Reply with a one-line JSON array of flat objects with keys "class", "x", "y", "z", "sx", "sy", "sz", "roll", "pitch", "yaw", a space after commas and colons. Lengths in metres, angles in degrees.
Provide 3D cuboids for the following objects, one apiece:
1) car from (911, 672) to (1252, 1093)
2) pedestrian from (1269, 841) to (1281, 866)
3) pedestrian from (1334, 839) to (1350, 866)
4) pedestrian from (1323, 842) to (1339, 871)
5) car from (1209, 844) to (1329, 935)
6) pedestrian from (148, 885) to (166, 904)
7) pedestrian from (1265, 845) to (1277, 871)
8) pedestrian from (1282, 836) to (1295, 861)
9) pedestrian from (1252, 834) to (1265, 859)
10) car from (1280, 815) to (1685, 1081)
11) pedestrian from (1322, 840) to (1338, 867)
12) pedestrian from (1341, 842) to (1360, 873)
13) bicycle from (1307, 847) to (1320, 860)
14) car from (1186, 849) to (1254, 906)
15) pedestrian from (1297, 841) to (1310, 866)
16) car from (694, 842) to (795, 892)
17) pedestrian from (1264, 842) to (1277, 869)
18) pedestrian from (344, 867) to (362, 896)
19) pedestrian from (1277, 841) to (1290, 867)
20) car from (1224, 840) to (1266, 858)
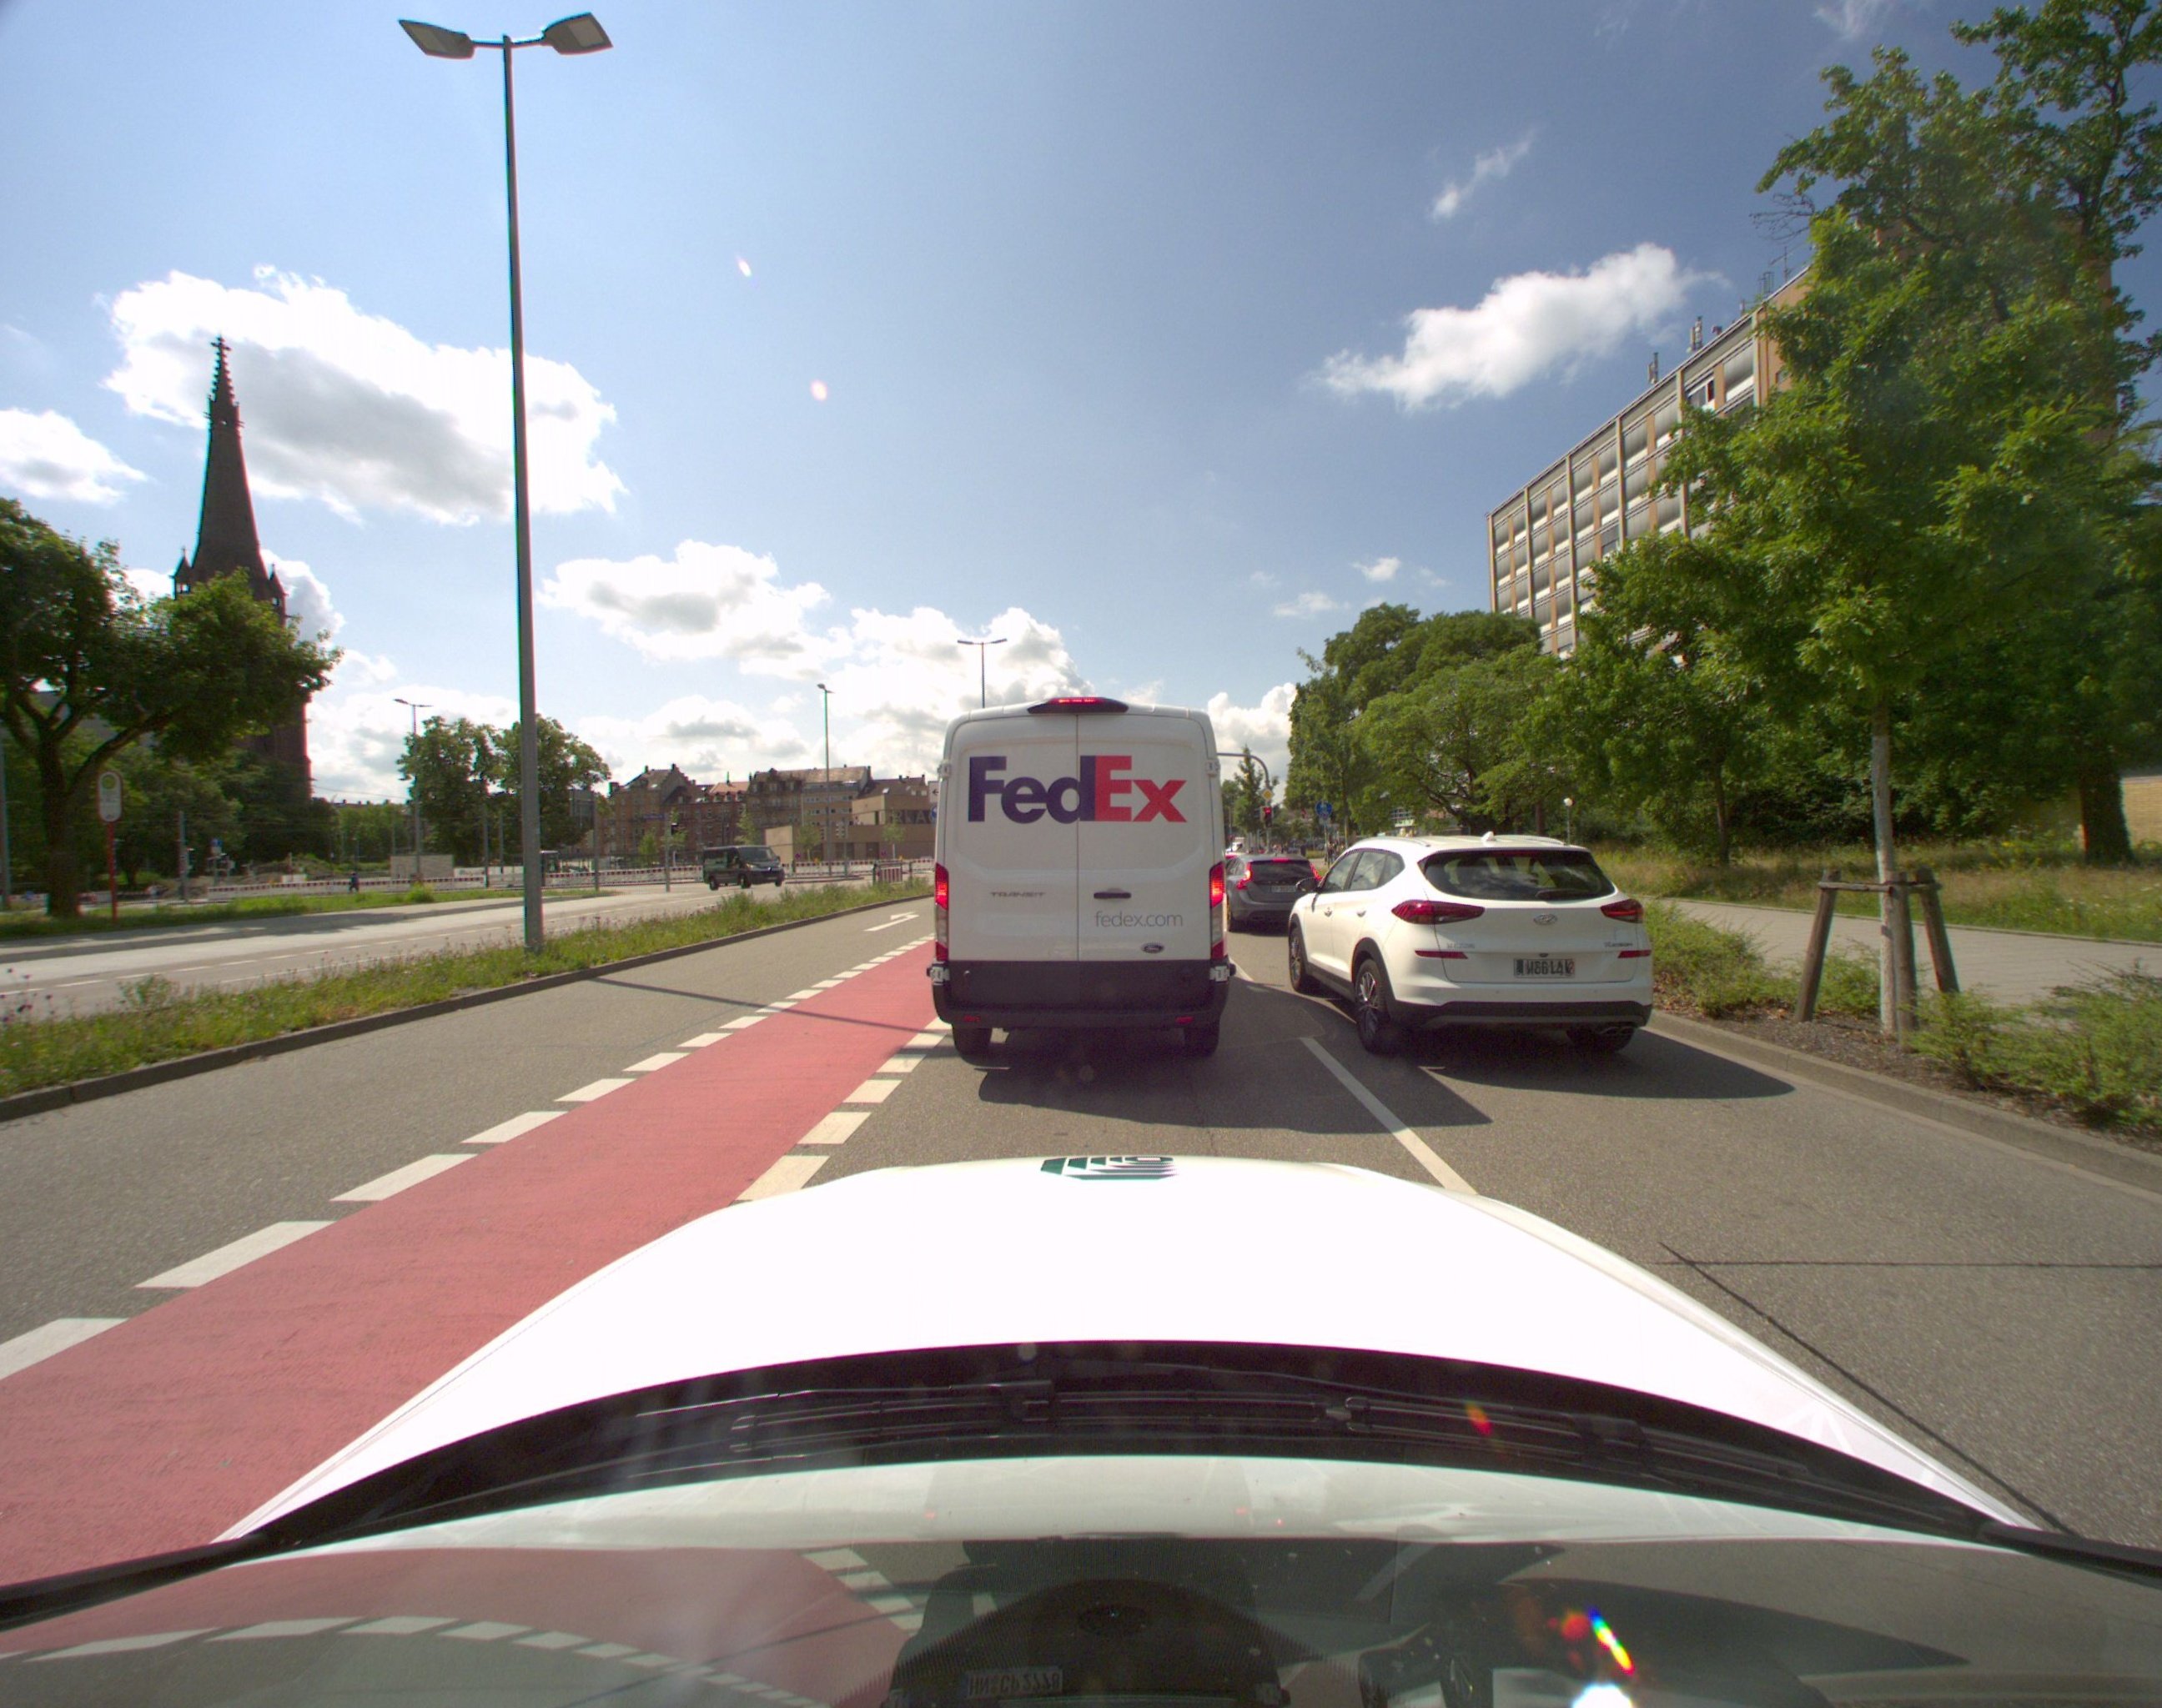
[{"class": "car", "x": 0.130, "y": 0.171, "z": 7.321, "sx": 2.064, "sy": 2.581, "sz": 4.432, "roll": -2, "pitch": 0, "yaw": 3}, {"class": "pedestrian", "x": 14.654, "y": -0.014, "z": 61.561, "sx": 0.754, "sy": 1.849, "sz": 0.818, "roll": -2, "pitch": 0, "yaw": 8}, {"class": "pedestrian", "x": 17.909, "y": -0.097, "z": 55.879, "sx": 0.758, "sy": 1.849, "sz": 0.814, "roll": -2, "pitch": 0, "yaw": -6}, {"class": "pedestrian", "x": 16.213, "y": 0.136, "z": 52.853, "sx": 0.756, "sy": 1.849, "sz": 0.816, "roll": -2, "pitch": 0, "yaw": 2}, {"class": "car", "x": 3.591, "y": 0.609, "z": 16.163, "sx": 1.684, "sy": 1.549, "sz": 3.724, "roll": -2, "pitch": 0, "yaw": 3}, {"class": "pedestrian", "x": -83.167, "y": 3.612, "z": 73.287, "sx": 0.860, "sy": 1.663, "sz": 0.745, "roll": -2, "pitch": 0, "yaw": -29}, {"class": "pedestrian", "x": 13.722, "y": 0.312, "z": 58.866, "sx": 0.753, "sy": 1.849, "sz": 0.820, "roll": -2, "pitch": 0, "yaw": 16}, {"class": "pedestrian", "x": 15.540, "y": -0.429, "z": 61.095, "sx": 0.755, "sy": 1.849, "sz": 0.817, "roll": -2, "pitch": 0, "yaw": 3}, {"class": "pedestrian", "x": 13.039, "y": -0.553, "z": 59.856, "sx": 0.810, "sy": 1.849, "sz": 0.762, "roll": -2, "pitch": 0, "yaw": 5}, {"class": "car", "x": 3.069, "y": 0.597, "z": 7.248, "sx": 1.807, "sy": 1.678, "sz": 3.978, "roll": -2, "pitch": 0, "yaw": 3}, {"class": "pedestrian", "x": 16.993, "y": -0.029, "z": 55.612, "sx": 0.758, "sy": 1.849, "sz": 0.814, "roll": -2, "pitch": 0, "yaw": -8}, {"class": "pedestrian", "x": 14.740, "y": 0.192, "z": 44.534, "sx": 0.755, "sy": 1.655, "sz": 0.817, "roll": -2, "pitch": 0, "yaw": 5}, {"class": "bicycle", "x": 27.645, "y": -0.078, "z": 96.699, "sx": 1.414, "sy": 1.464, "sz": 4.330, "roll": -2, "pitch": 0, "yaw": 17}, {"class": "car", "x": 3.906, "y": 0.617, "z": 23.317, "sx": 1.493, "sy": 1.464, "sz": 3.477, "roll": -2, "pitch": 0, "yaw": 3}, {"class": "pedestrian", "x": 16.537, "y": -0.036, "z": 60.567, "sx": 0.755, "sy": 1.849, "sz": 0.817, "roll": -2, "pitch": 0, "yaw": 5}, {"class": "car", "x": -17.002, "y": 0.657, "z": 41.101, "sx": 4.953, "sy": 2.175, "sz": 2.169, "roll": -4, "pitch": 0, "yaw": 33}, {"class": "pedestrian", "x": 13.158, "y": 0.089, "z": 56.522, "sx": 0.752, "sy": 1.849, "sz": 0.820, "roll": -2, "pitch": 0, "yaw": 20}, {"class": "pedestrian", "x": -50.959, "y": 1.931, "z": 57.024, "sx": 0.644, "sy": 2.013, "sz": 0.632, "roll": -2, "pitch": 0, "yaw": -1}, {"class": "pedestrian", "x": 14.711, "y": 0.021, "z": 59.133, "sx": 0.752, "sy": 1.849, "sz": 0.820, "roll": -2, "pitch": 0, "yaw": 20}, {"class": "car", "x": 26.236, "y": -0.809, "z": 130.080, "sx": 7.115, "sy": 2.717, "sz": 2.469, "roll": 0, "pitch": -1, "yaw": -36}]
